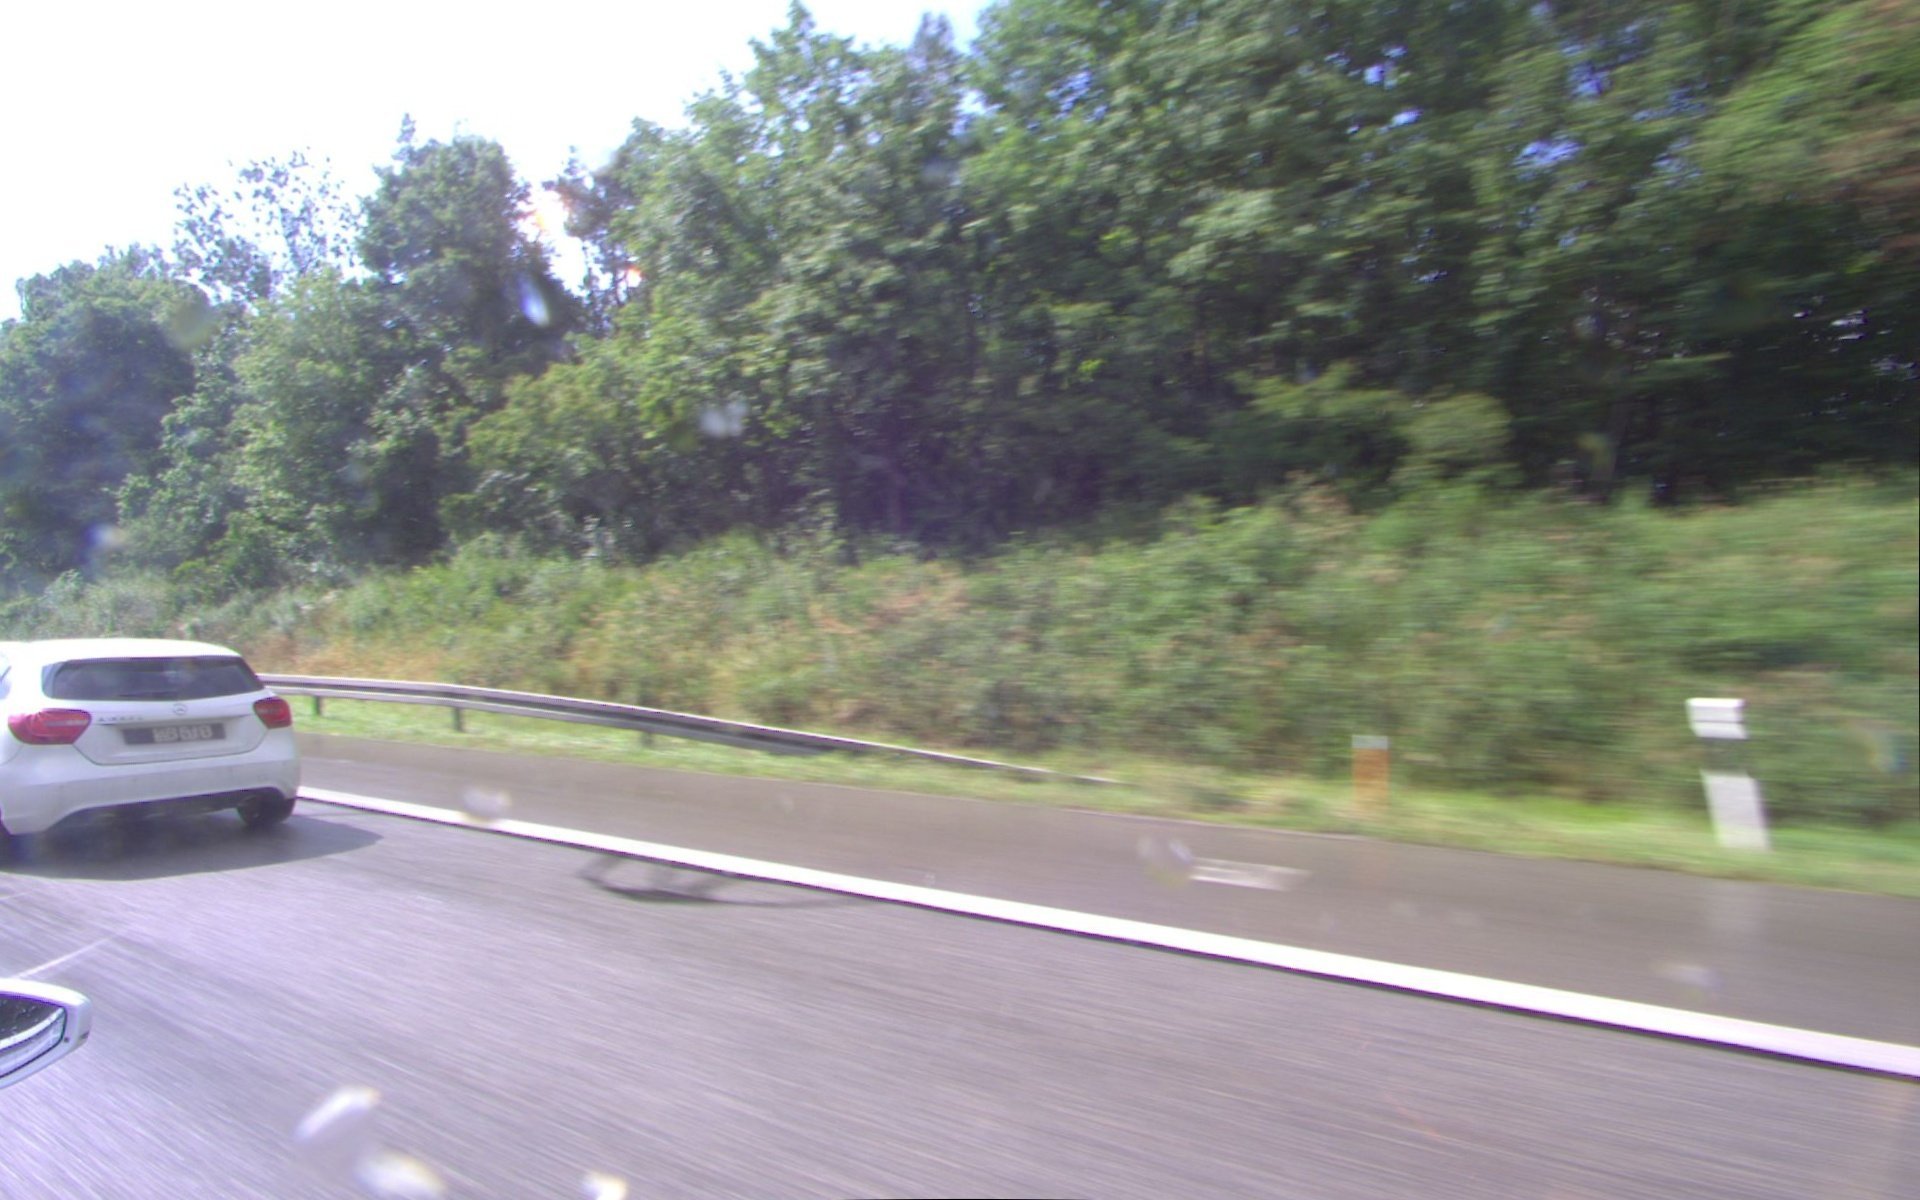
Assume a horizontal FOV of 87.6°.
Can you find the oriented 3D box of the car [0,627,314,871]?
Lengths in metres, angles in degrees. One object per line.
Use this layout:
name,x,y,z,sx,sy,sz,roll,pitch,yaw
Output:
car,-6.966,0.951,7.806,4.161,1.443,1.689,-1,-2,33
